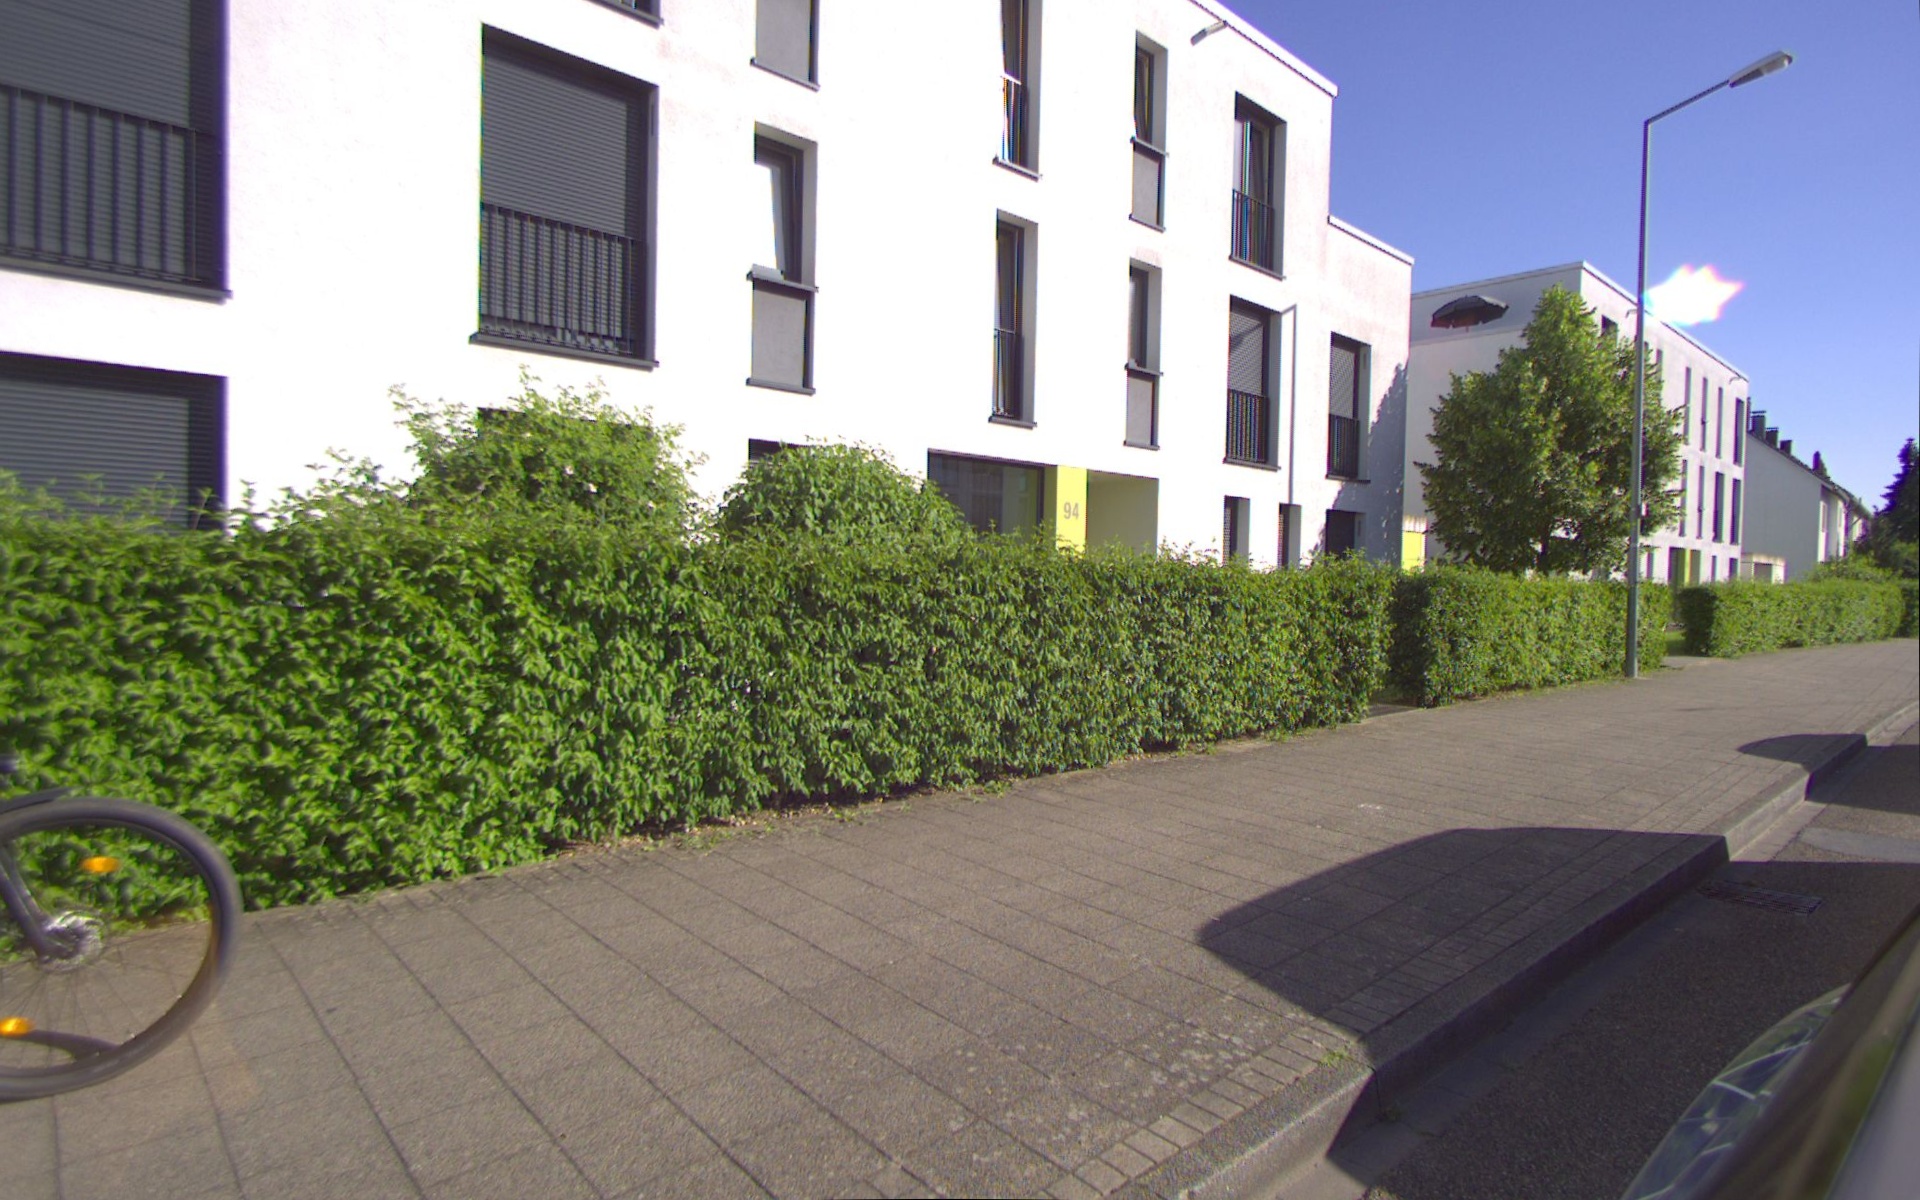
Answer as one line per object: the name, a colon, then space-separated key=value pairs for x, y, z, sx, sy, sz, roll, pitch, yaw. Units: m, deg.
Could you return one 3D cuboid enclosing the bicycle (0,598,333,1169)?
bicycle: x=-3.046 y=0.621 z=1.895 sx=3.072 sy=1.187 sz=0.930 roll=-1 pitch=3 yaw=-42
